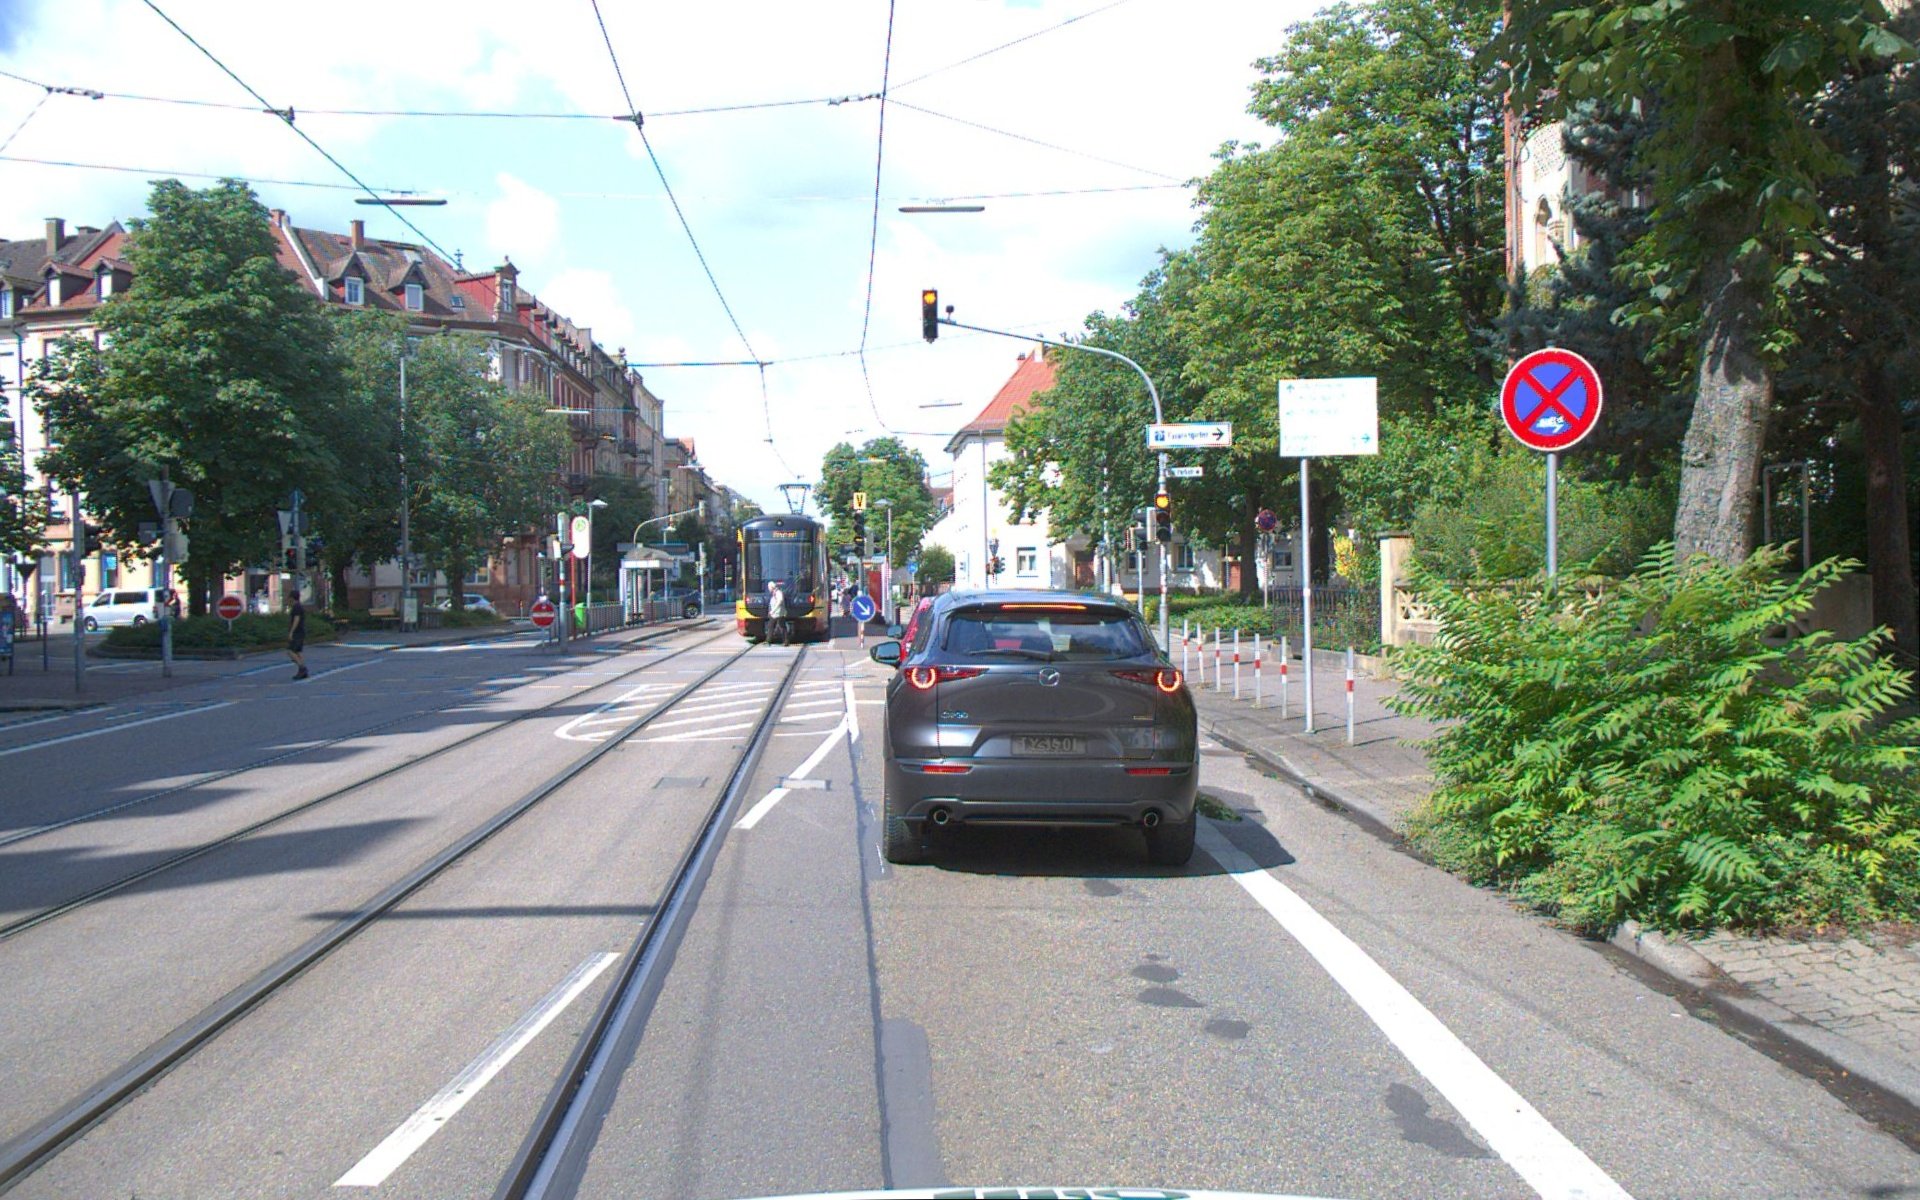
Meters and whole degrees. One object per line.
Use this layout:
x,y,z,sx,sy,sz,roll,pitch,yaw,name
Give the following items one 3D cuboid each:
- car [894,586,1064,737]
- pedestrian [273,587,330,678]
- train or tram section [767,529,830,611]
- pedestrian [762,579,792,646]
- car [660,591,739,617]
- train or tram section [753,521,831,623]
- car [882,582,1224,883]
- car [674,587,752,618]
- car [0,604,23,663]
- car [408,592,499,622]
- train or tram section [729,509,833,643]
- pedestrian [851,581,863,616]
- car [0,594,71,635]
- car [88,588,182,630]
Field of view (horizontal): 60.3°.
0.158,0.624,19.147,1.742,1.526,3.999,1,0,-1,car
-12.706,0.616,31.934,0.735,1.713,0.701,-1,0,8,pedestrian
-7.704,-1.496,80.270,2.699,3.551,14.395,-1,1,-5,train or tram section
-4.763,0.317,43.111,0.702,1.735,0.823,-1,0,-3,pedestrian
-14.292,0.202,90.714,3.947,1.384,1.661,-1,0,-31,car
-6.554,-1.161,65.896,2.699,3.551,14.395,-1,1,-5,train or tram section
0.443,0.671,10.545,1.742,1.526,3.999,1,0,-1,car
-13.088,0.127,87.734,3.921,1.524,1.672,-1,0,-15,car
-26.913,0.906,44.339,3.991,1.545,1.753,-1,0,39,car
-24.569,0.311,80.217,3.950,1.384,1.659,-1,0,-33,car
-5.374,-0.807,51.537,2.699,3.551,14.395,-1,1,-5,train or tram section
-4.298,-0.074,68.884,0.441,1.459,0.474,-1,0,-6,pedestrian
-39.062,0.605,68.000,3.905,1.624,2.000,-1,0,-1,car
-39.690,0.439,79.544,3.906,1.937,1.999,-1,0,24,car
